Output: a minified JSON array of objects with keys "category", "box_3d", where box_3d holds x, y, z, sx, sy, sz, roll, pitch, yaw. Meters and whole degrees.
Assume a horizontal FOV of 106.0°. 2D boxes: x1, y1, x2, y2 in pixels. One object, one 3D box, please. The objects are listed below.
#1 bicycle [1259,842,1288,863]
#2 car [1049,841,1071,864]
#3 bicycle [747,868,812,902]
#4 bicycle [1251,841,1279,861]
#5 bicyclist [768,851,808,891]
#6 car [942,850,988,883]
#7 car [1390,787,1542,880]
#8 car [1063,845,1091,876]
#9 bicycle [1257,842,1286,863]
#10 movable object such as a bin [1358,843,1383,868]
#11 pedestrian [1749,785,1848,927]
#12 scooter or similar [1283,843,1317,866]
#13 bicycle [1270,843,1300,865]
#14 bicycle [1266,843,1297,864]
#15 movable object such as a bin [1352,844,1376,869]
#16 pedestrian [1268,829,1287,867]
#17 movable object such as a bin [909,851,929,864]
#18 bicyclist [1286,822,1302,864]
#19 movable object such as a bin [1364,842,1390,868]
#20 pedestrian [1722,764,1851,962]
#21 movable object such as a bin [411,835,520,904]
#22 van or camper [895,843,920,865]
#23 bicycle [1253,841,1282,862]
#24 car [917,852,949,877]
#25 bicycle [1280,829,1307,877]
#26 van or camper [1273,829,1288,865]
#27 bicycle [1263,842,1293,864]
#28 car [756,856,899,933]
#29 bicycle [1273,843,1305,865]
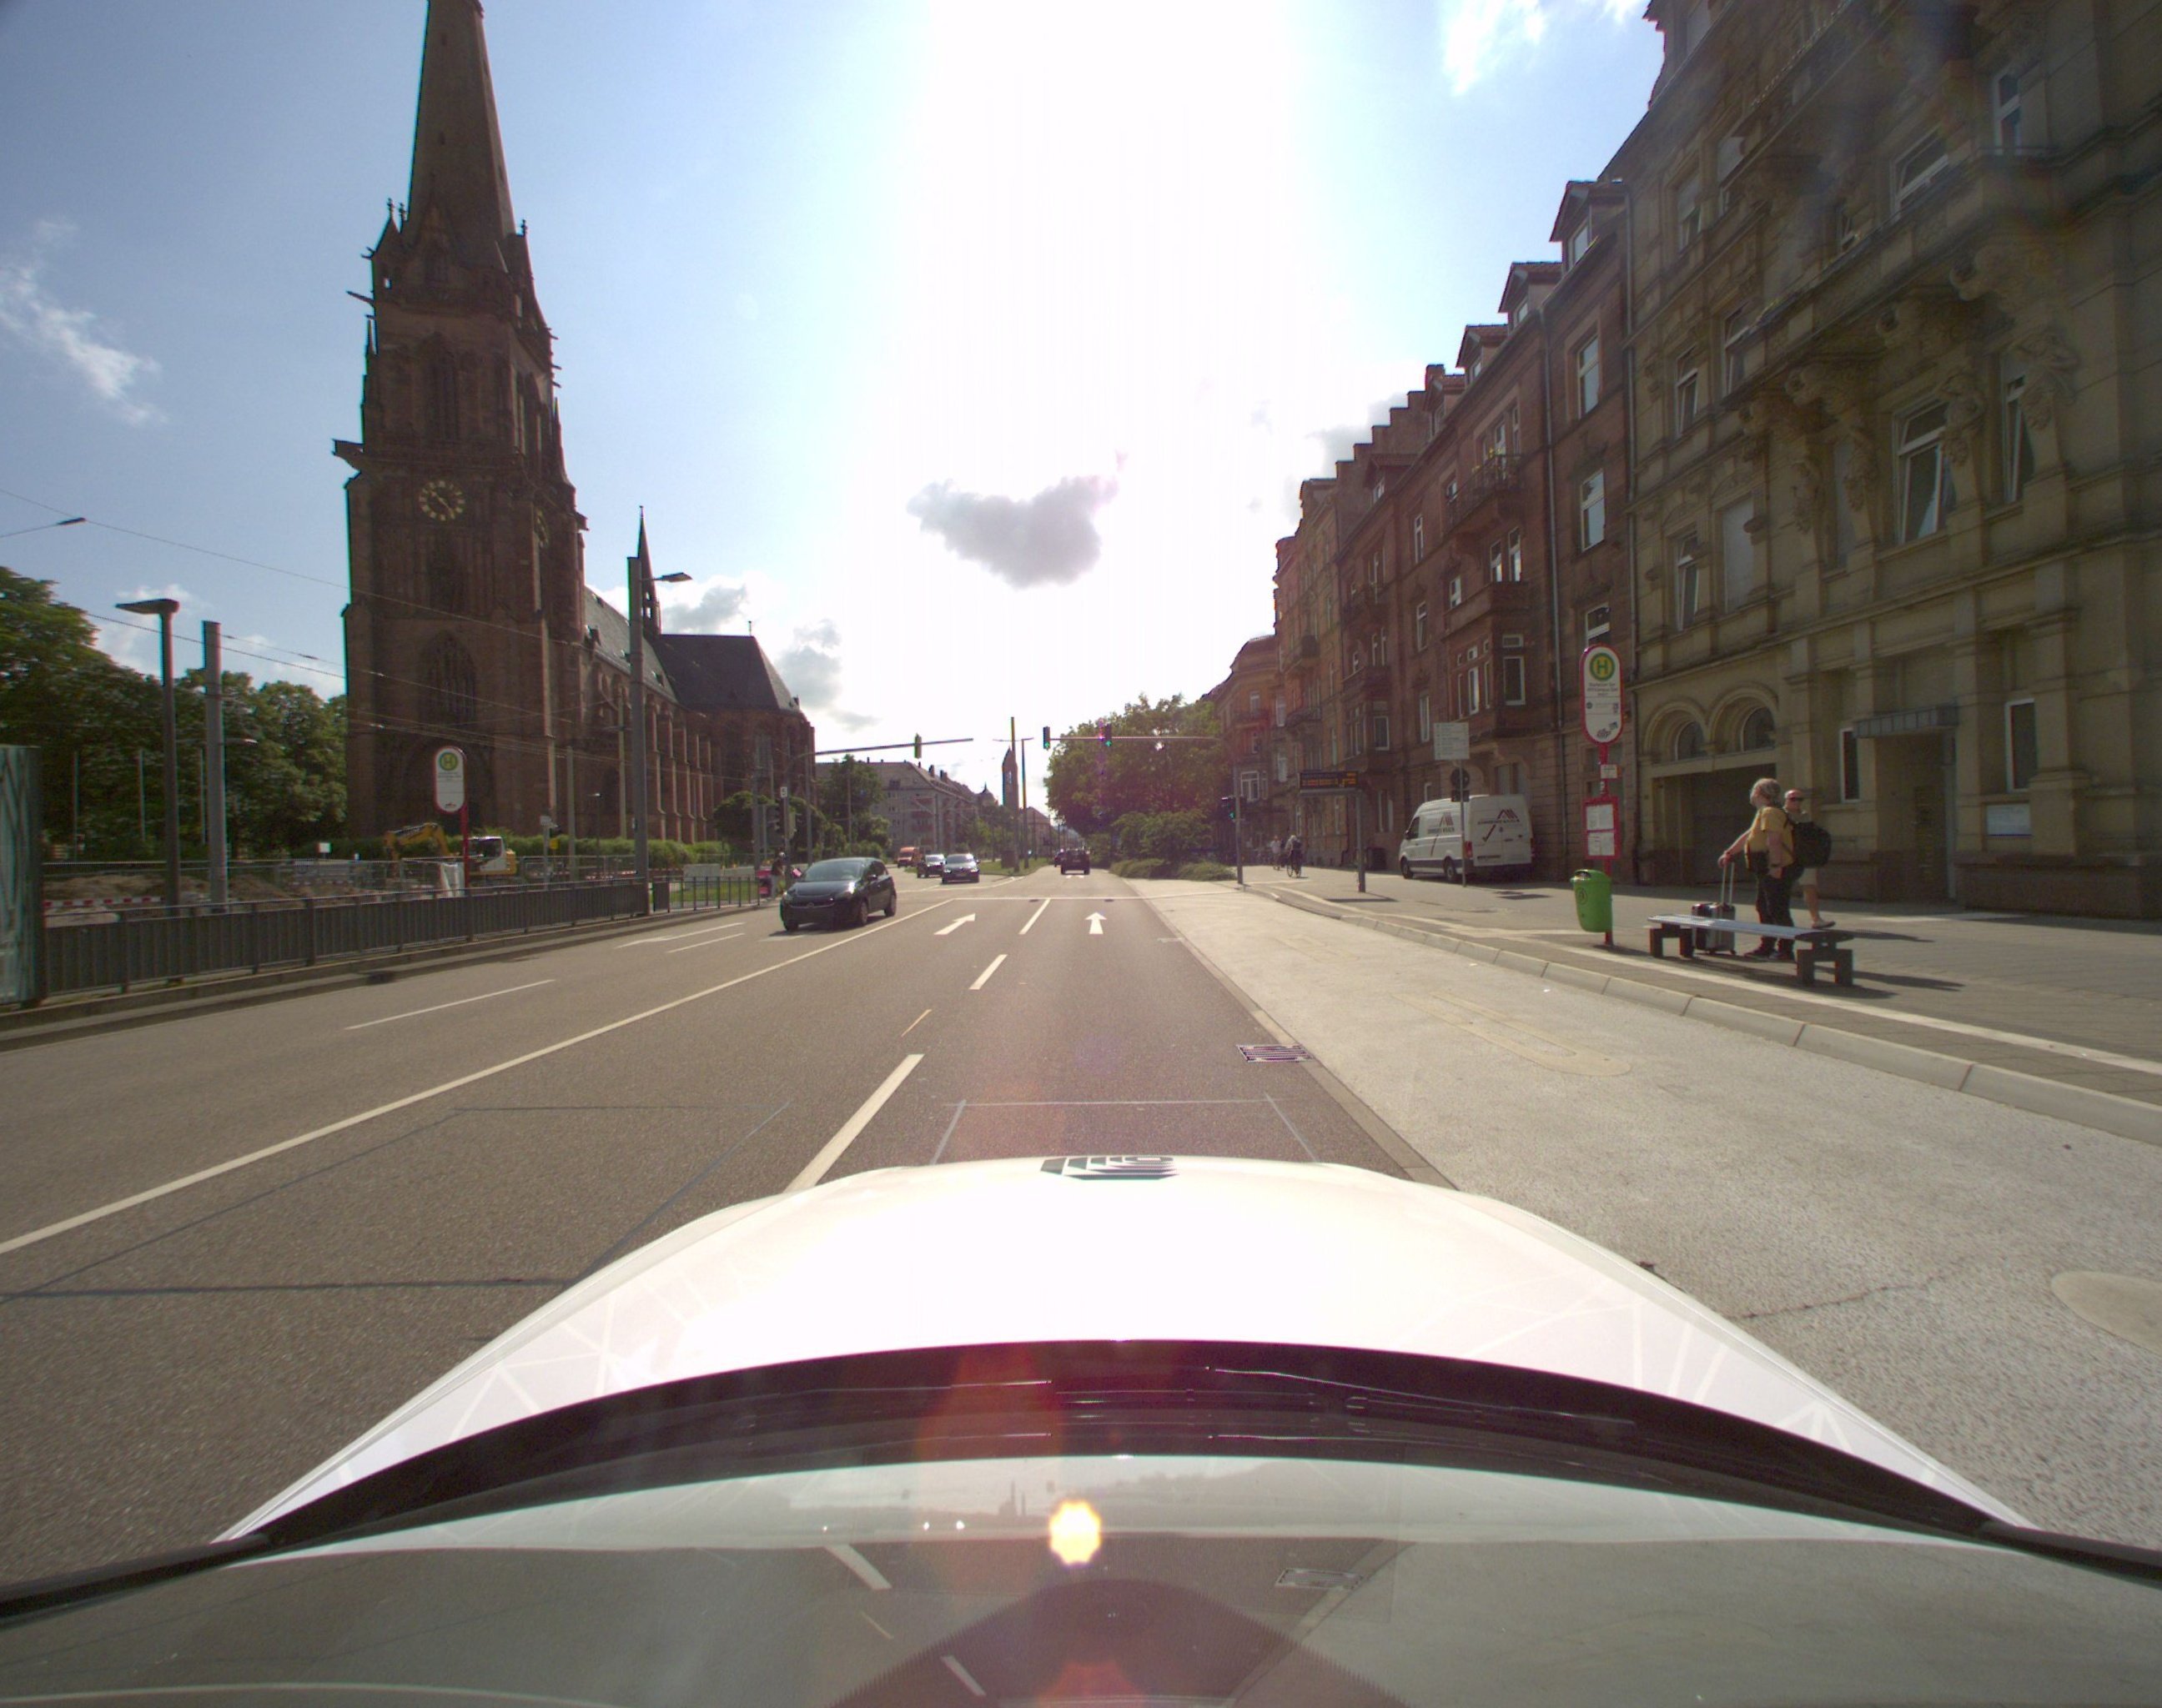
[{"category":"bicycle","box_3d":[12.252,-0.096,51.841,1.761,1.267,0.467,-2,2,4]},{"category":"car","box_3d":[-1.994,-0.136,77.438,1.988,2.013,3.997,-2,0,-2]},{"category":"bicycle","box_3d":[-11.156,1.143,30.135,2.005,1.126,0.934,-2,0,11]},{"category":"bicycle","box_3d":[12.229,-0.186,54.144,1.761,1.267,0.467,-2,2,4]},{"category":"bicyclist","box_3d":[-10.840,0.624,30.126,1.082,1.436,0.827,-2,0,10]},{"category":"car","box_3d":[-5.984,0.626,42.553,1.813,1.552,4.557,-2,0,-2]},{"category":"car","box_3d":[11.760,-0.589,25.463,1.986,2.525,5.889,-2,0,1]},{"category":"car","box_3d":[-0.284,0.390,52.914,1.684,1.711,3.608,-2,3,-1]},{"category":"bicycle","box_3d":[12.260,-0.095,52.466,1.761,1.267,0.467,-2,2,4]},{"category":"movable object such as a bin","box_3d":[12.975,0.065,36.479,0.783,1.107,0.776,-2,0,-1]},{"category":"pedestrian","box_3d":[9.719,0.025,11.052,0.662,1.836,0.693,-2,0,-6]},{"category":"scooter or similar","box_3d":[12.457,0.036,46.331,1.763,1.185,0.466,-4,-1,0]},{"category":"bicycle","box_3d":[12.410,-0.014,49.589,1.738,1.267,0.467,-2,2,4]},{"category":"bicycle","box_3d":[12.354,-0.032,50.267,1.761,1.267,0.467,-2,2,4]},{"category":"movable object such as a bin","box_3d":[12.972,0.097,37.374,0.783,1.107,0.776,-2,0,-1]},{"category":"pedestrian","box_3d":[10.491,-0.315,43.452,0.765,2.013,0.715,-2,0,1]},{"category":"movable object such as a bin","box_3d":[-23.033,0.462,115.802,2.202,1.693,3.714,-2,3,-3]},{"category":"bicyclist","box_3d":[8.803,-0.447,33.673,0.426,1.718,0.828,-2,-1,2]},{"category":"movable object such as a bin","box_3d":[12.980,0.058,35.723,0.783,1.107,0.776,-2,0,-1]},{"category":"pedestrian","box_3d":[7.130,0.078,8.247,0.664,1.903,0.690,-2,0,-18]},{"category":"movable object such as a bin","box_3d":[-30.584,0.689,40.648,1.984,3.105,4.007,-2,2,5]},{"category":"van or camper","box_3d":[-23.278,-0.020,109.446,2.251,2.737,6.195,-2,0,-3]},{"category":"bicycle","box_3d":[12.233,-0.158,53.483,1.761,1.267,0.467,-2,2,4]},{"category":"car","box_3d":[-10.064,0.676,55.162,1.802,1.552,4.274,-1,0,-14]},{"category":"bicycle","box_3d":[8.747,-0.049,33.620,0.681,1.925,1.590,-2,0,2]},{"category":"van or camper","box_3d":[11.408,-0.382,46.618,0.664,2.013,0.638,-2,0,0]},{"category":"bicycle","box_3d":[12.316,-0.069,51.039,1.761,1.267,0.467,-2,2,4]},{"category":"car","box_3d":[-5.479,0.814,18.115,1.909,1.417,3.741,-2,0,0]},{"category":"bicycle","box_3d":[12.513,-0.022,49.006,1.761,1.267,0.467,-2,2,4]}]
